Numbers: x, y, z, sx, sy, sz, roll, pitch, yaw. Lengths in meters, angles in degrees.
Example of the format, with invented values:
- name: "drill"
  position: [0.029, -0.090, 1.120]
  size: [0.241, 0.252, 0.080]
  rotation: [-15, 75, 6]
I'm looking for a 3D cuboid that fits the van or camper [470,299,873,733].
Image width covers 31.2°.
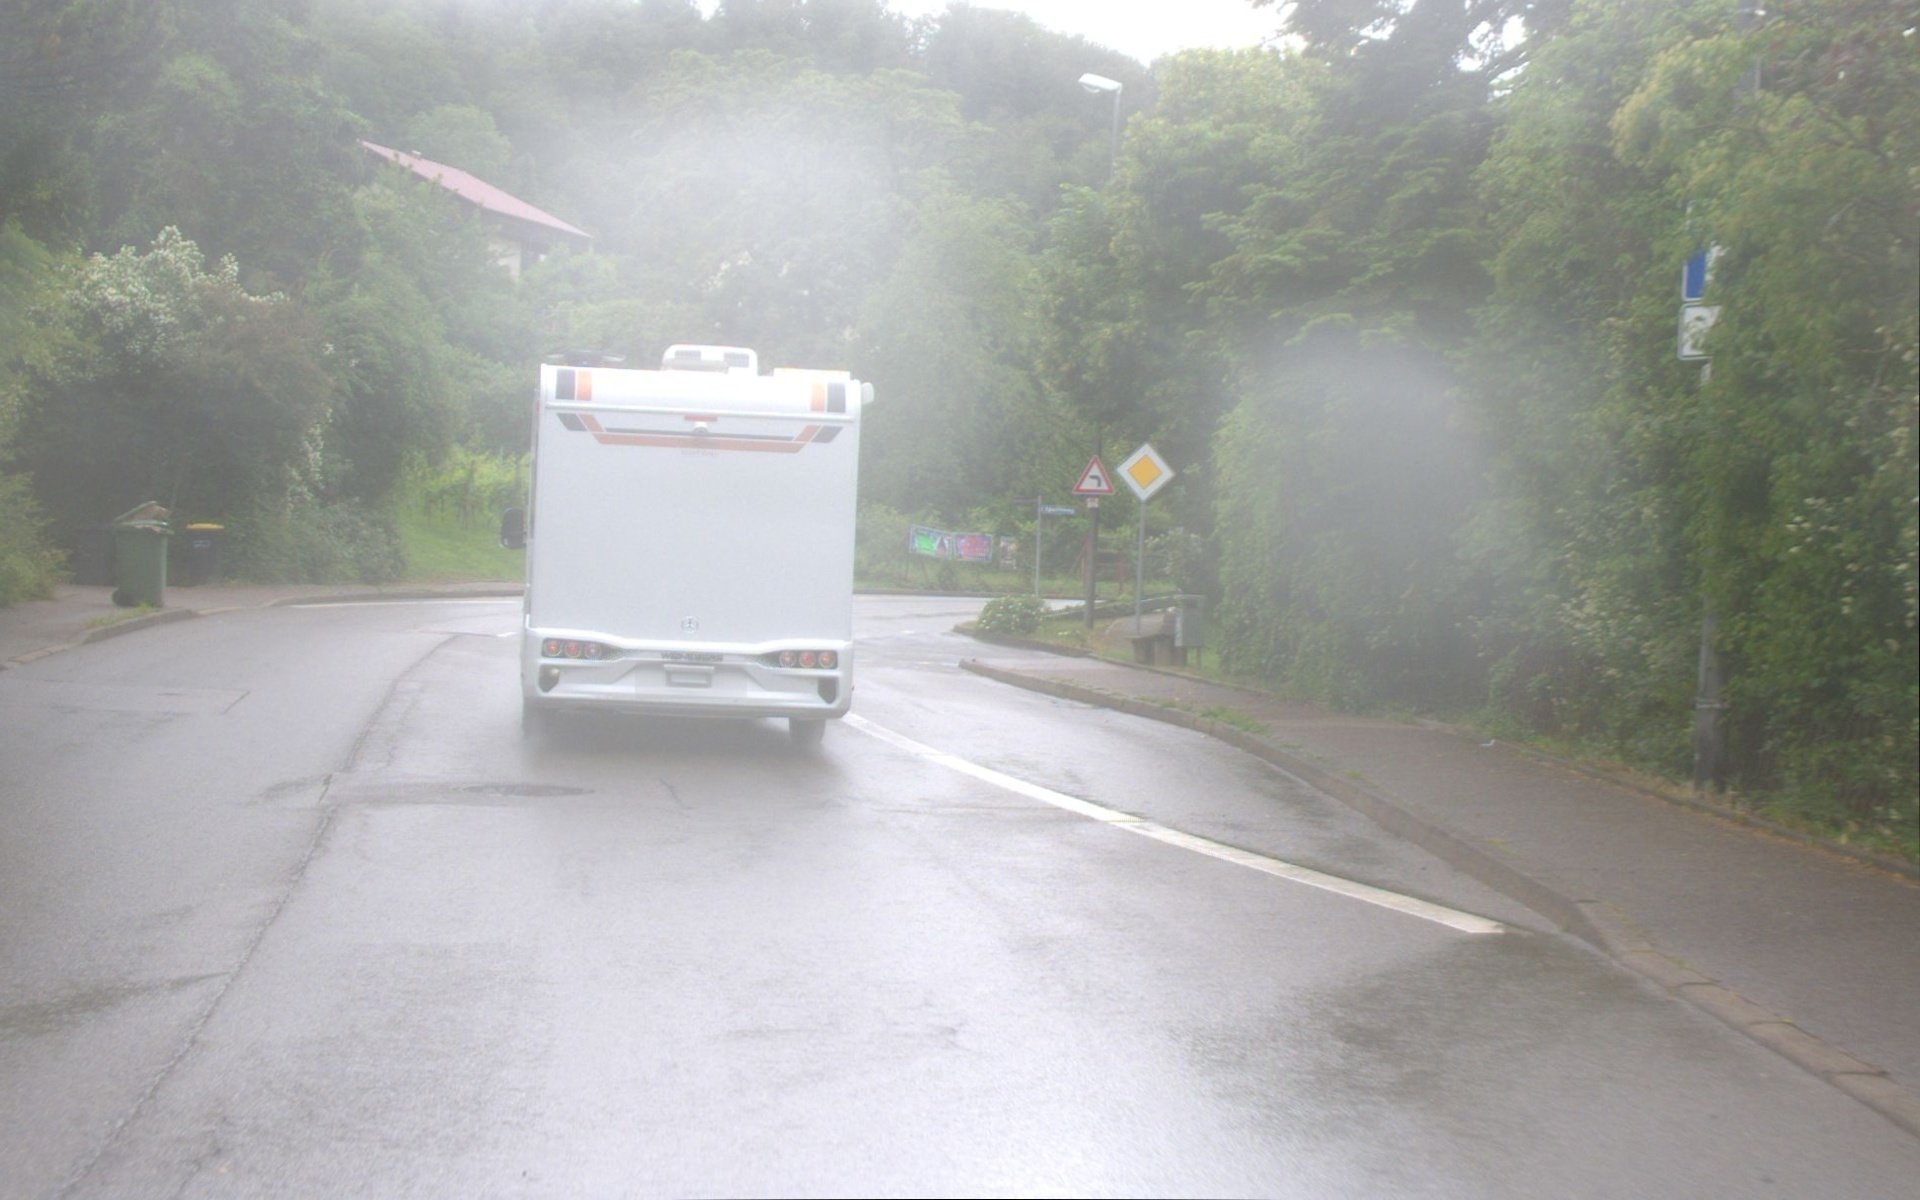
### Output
- name: "van or camper"
  position: [-2.200, -0.548, 26.289]
  size: [2.615, 2.843, 6.032]
  rotation: [2, 0, -5]

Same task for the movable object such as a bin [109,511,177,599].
- name: "movable object such as a bin"
  position: [-10.420, -0.580, 43.867]
  size: [0.741, 1.090, 0.758]
  rotation: [2, 1, -9]

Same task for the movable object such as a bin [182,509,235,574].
- name: "movable object such as a bin"
  position: [-12.288, -0.961, 56.221]
  size: [0.755, 1.019, 0.744]
  rotation: [2, 1, -8]

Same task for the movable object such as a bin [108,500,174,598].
- name: "movable object such as a bin"
  position: [-10.657, -0.666, 44.737]
  size: [0.741, 1.249, 0.758]
  rotation: [2, 1, -9]
